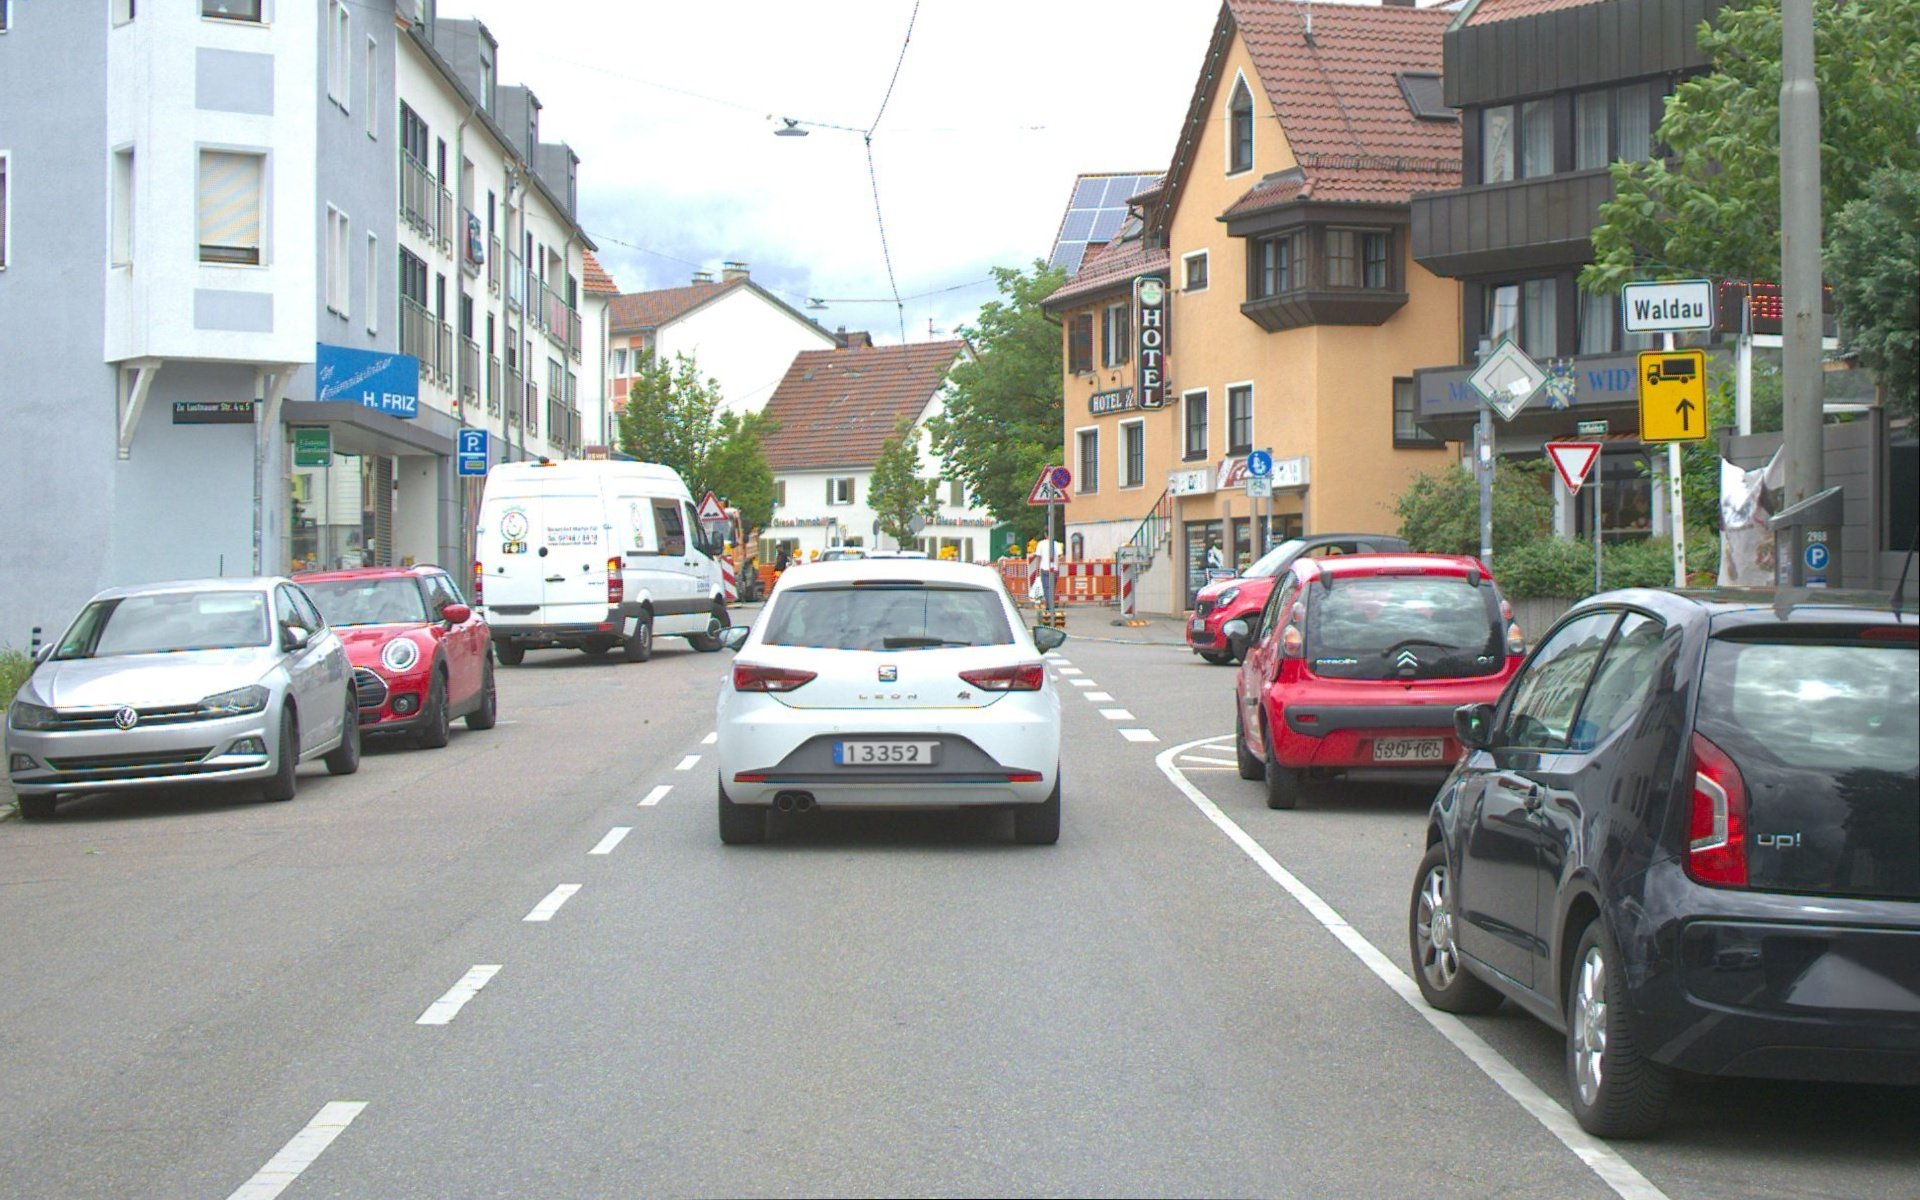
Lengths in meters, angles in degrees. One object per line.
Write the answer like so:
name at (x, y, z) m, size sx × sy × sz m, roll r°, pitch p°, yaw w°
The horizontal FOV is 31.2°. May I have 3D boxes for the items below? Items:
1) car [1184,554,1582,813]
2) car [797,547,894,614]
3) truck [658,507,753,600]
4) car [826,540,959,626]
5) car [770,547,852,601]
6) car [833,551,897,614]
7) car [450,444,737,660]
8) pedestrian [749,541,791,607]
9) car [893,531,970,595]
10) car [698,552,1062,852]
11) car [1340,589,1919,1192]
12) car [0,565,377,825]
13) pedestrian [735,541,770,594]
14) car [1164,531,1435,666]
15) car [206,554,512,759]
car at (2.518, 0.445, 21.383) m, size 1.758 × 1.447 × 4.001 m, roll 0°, pitch 1°, yaw -3°
car at (-2.550, -0.441, 75.715) m, size 1.758 × 1.447 × 4.001 m, roll 0°, pitch 1°, yaw -7°
truck at (-6.926, -1.295, 94.017) m, size 2.152 × 2.451 × 5.395 m, roll 1°, pitch 1°, yaw 0°
car at (-1.218, -0.306, 59.987) m, size 1.758 × 1.447 × 4.001 m, roll 0°, pitch 1°, yaw -9°
car at (-4.749, -0.863, 110.299) m, size 1.795 × 1.696 × 3.998 m, roll 0°, pitch 1°, yaw 10°
car at (-2.806, -0.542, 102.076) m, size 1.794 × 1.824 × 4.000 m, roll 0°, pitch 1°, yaw 0°
car at (-4.778, -0.651, 45.794) m, size 2.153 × 2.677 × 5.542 m, roll 1°, pitch 1°, yaw 12°
pedestrian at (-5.794, -0.809, 104.858) m, size 1.228 × 2.007 × 1.175 m, roll 0°, pitch 1°, yaw 0°
car at (-0.668, -0.886, 81.461) m, size 1.761 × 1.492 × 3.789 m, roll 0°, pitch 1°, yaw 0°
car at (-0.395, 0.470, 18.640) m, size 1.758 × 1.447 × 4.000 m, roll 0°, pitch 1°, yaw 0°
car at (2.376, 0.712, 10.531) m, size 1.758 × 1.447 × 4.001 m, roll 0°, pitch 1°, yaw -3°
car at (-5.124, 0.561, 22.845) m, size 1.799 × 1.474 × 4.051 m, roll -3°, pitch 1°, yaw -1°
pedestrian at (-6.192, -0.965, 102.764) m, size 0.972 × 1.570 × 0.907 m, roll 1°, pitch 0°, yaw -1°
car at (4.026, -0.026, 41.018) m, size 2.807 × 1.507 × 1.709 m, roll 1°, pitch 2°, yaw -11°
car at (-4.856, 0.407, 28.312) m, size 1.799 × 1.474 × 4.051 m, roll -3°, pitch 1°, yaw -1°
